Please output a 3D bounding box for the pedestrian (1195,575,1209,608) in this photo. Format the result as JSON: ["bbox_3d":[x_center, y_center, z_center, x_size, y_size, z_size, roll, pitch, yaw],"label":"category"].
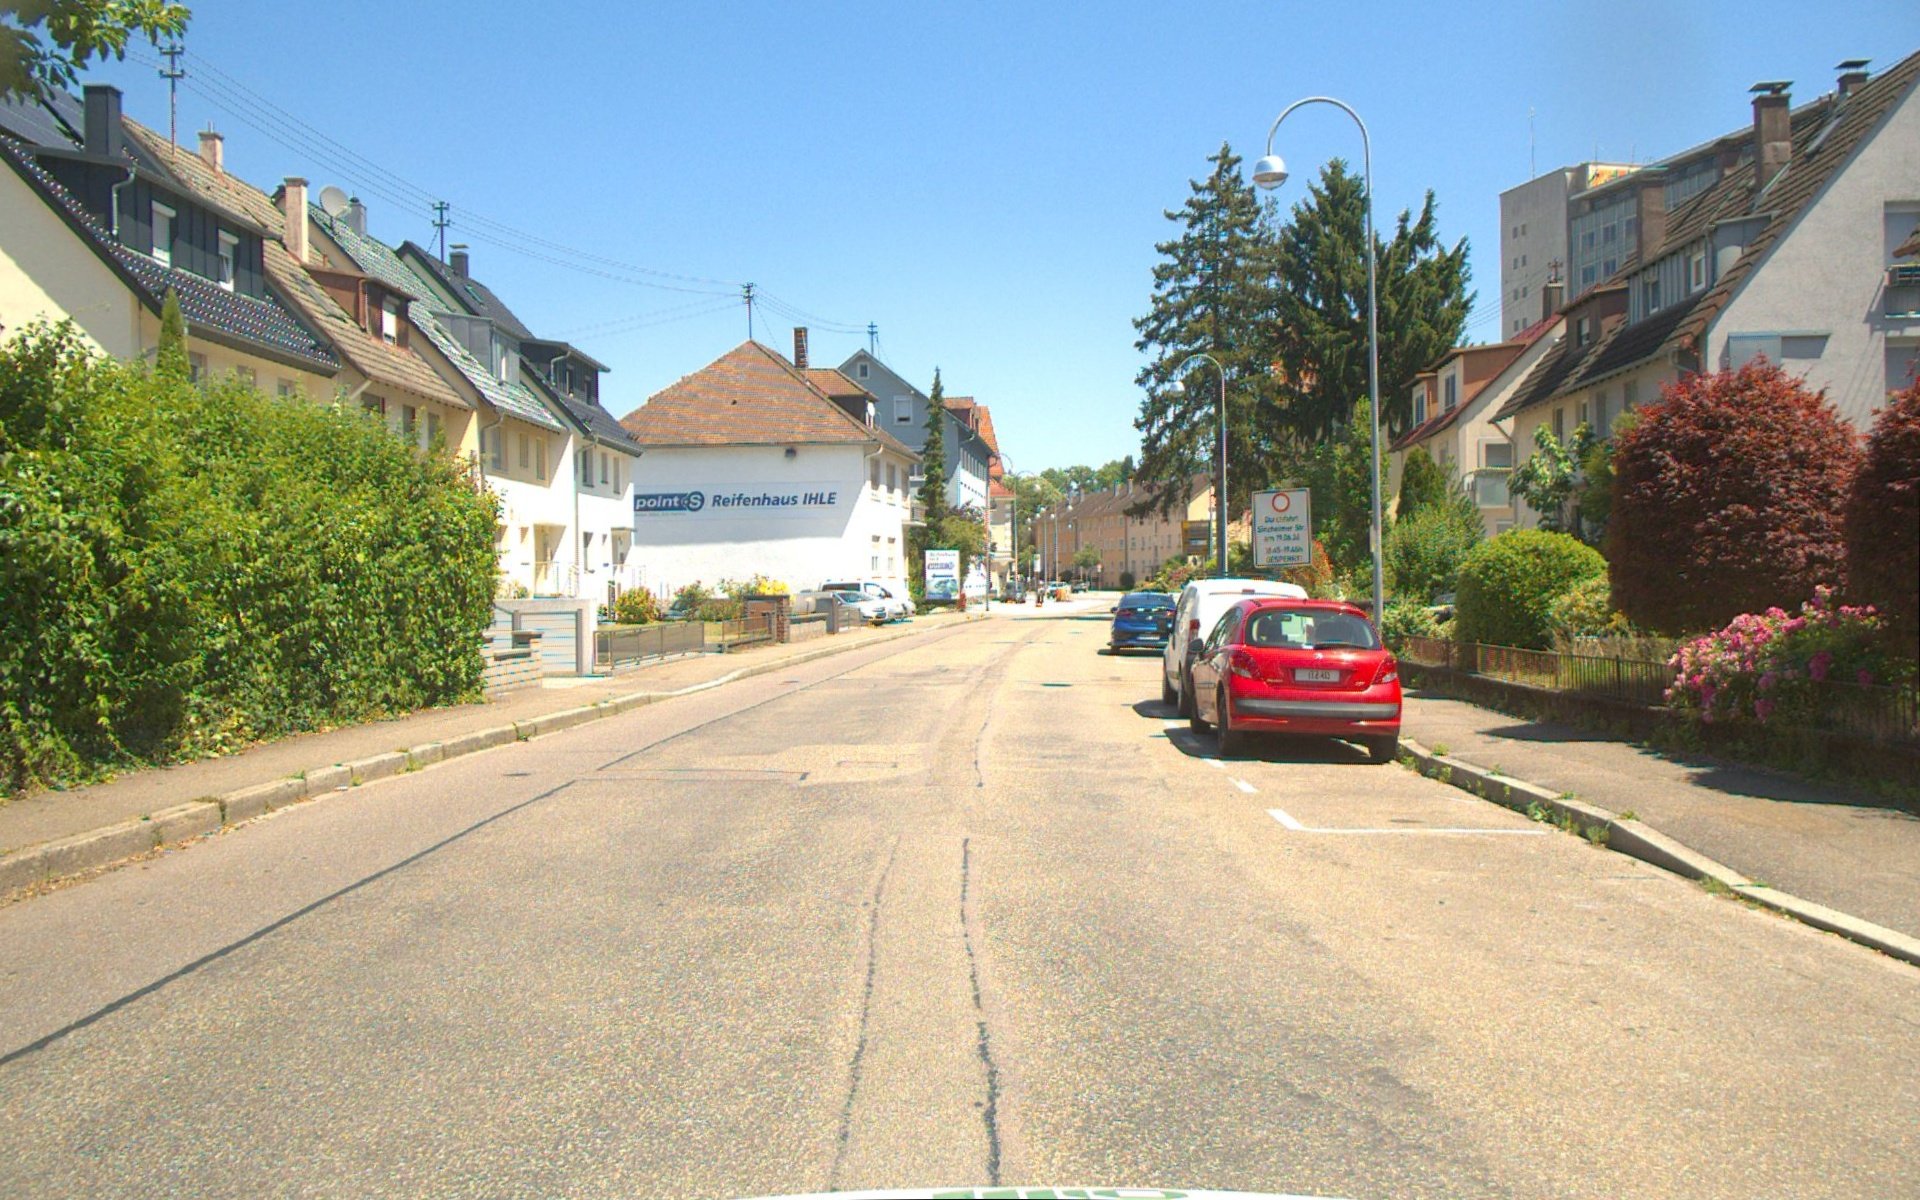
[{"bbox_3d":[12.994,-0.455,88.884,0.674,1.801,0.692,0,-1,12],"label":"pedestrian"}]

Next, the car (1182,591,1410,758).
[{"bbox_3d":[3.326,0.667,17.053,1.629,1.480,4.001,1,0,2],"label":"car"}]

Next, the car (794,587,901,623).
[{"bbox_3d":[-4.508,0.196,65.748,4.064,1.367,1.902,0,1,39],"label":"car"}]

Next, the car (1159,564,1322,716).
[{"bbox_3d":[3.644,0.498,22.052,1.629,1.785,4.001,2,0,3],"label":"car"}]

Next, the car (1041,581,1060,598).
[{"bbox_3d":[8.848,-1.071,161.567,1.563,1.634,3.409,0,1,-2],"label":"car"}]

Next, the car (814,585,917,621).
[{"bbox_3d":[-3.914,0.114,68.703,4.042,1.418,1.830,0,1,4],"label":"car"}]

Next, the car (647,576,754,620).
[{"bbox_3d":[-9.495,-0.098,60.382,3.927,1.536,1.790,1,2,41],"label":"car"}]

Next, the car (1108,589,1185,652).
[{"bbox_3d":[4.580,0.475,41.066,1.740,1.430,4.289,1,1,5],"label":"car"}]

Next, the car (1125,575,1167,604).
[{"bbox_3d":[10.072,-0.593,89.332,1.756,1.536,4.003,0,1,14],"label":"car"}]

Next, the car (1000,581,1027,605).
[{"bbox_3d":[3.938,-0.512,121.232,1.720,1.685,4.002,0,0,4],"label":"car"}]

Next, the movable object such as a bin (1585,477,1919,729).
[{"bbox_3d":[9.159,0.027,19.294,3.081,2.795,1.707,0,0,0],"label":"movable object such as a bin"}]

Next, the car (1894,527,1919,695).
[{"bbox_3d":[9.727,0.105,13.563,1.758,1.536,3.999,-3,1,-2],"label":"car"}]

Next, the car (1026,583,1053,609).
[{"bbox_3d":[5.434,-0.296,112.945,1.720,1.684,4.003,0,1,4],"label":"car"}]

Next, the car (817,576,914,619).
[{"bbox_3d":[-4.040,-0.119,71.243,4.043,1.805,1.829,-1,1,1],"label":"car"}]
